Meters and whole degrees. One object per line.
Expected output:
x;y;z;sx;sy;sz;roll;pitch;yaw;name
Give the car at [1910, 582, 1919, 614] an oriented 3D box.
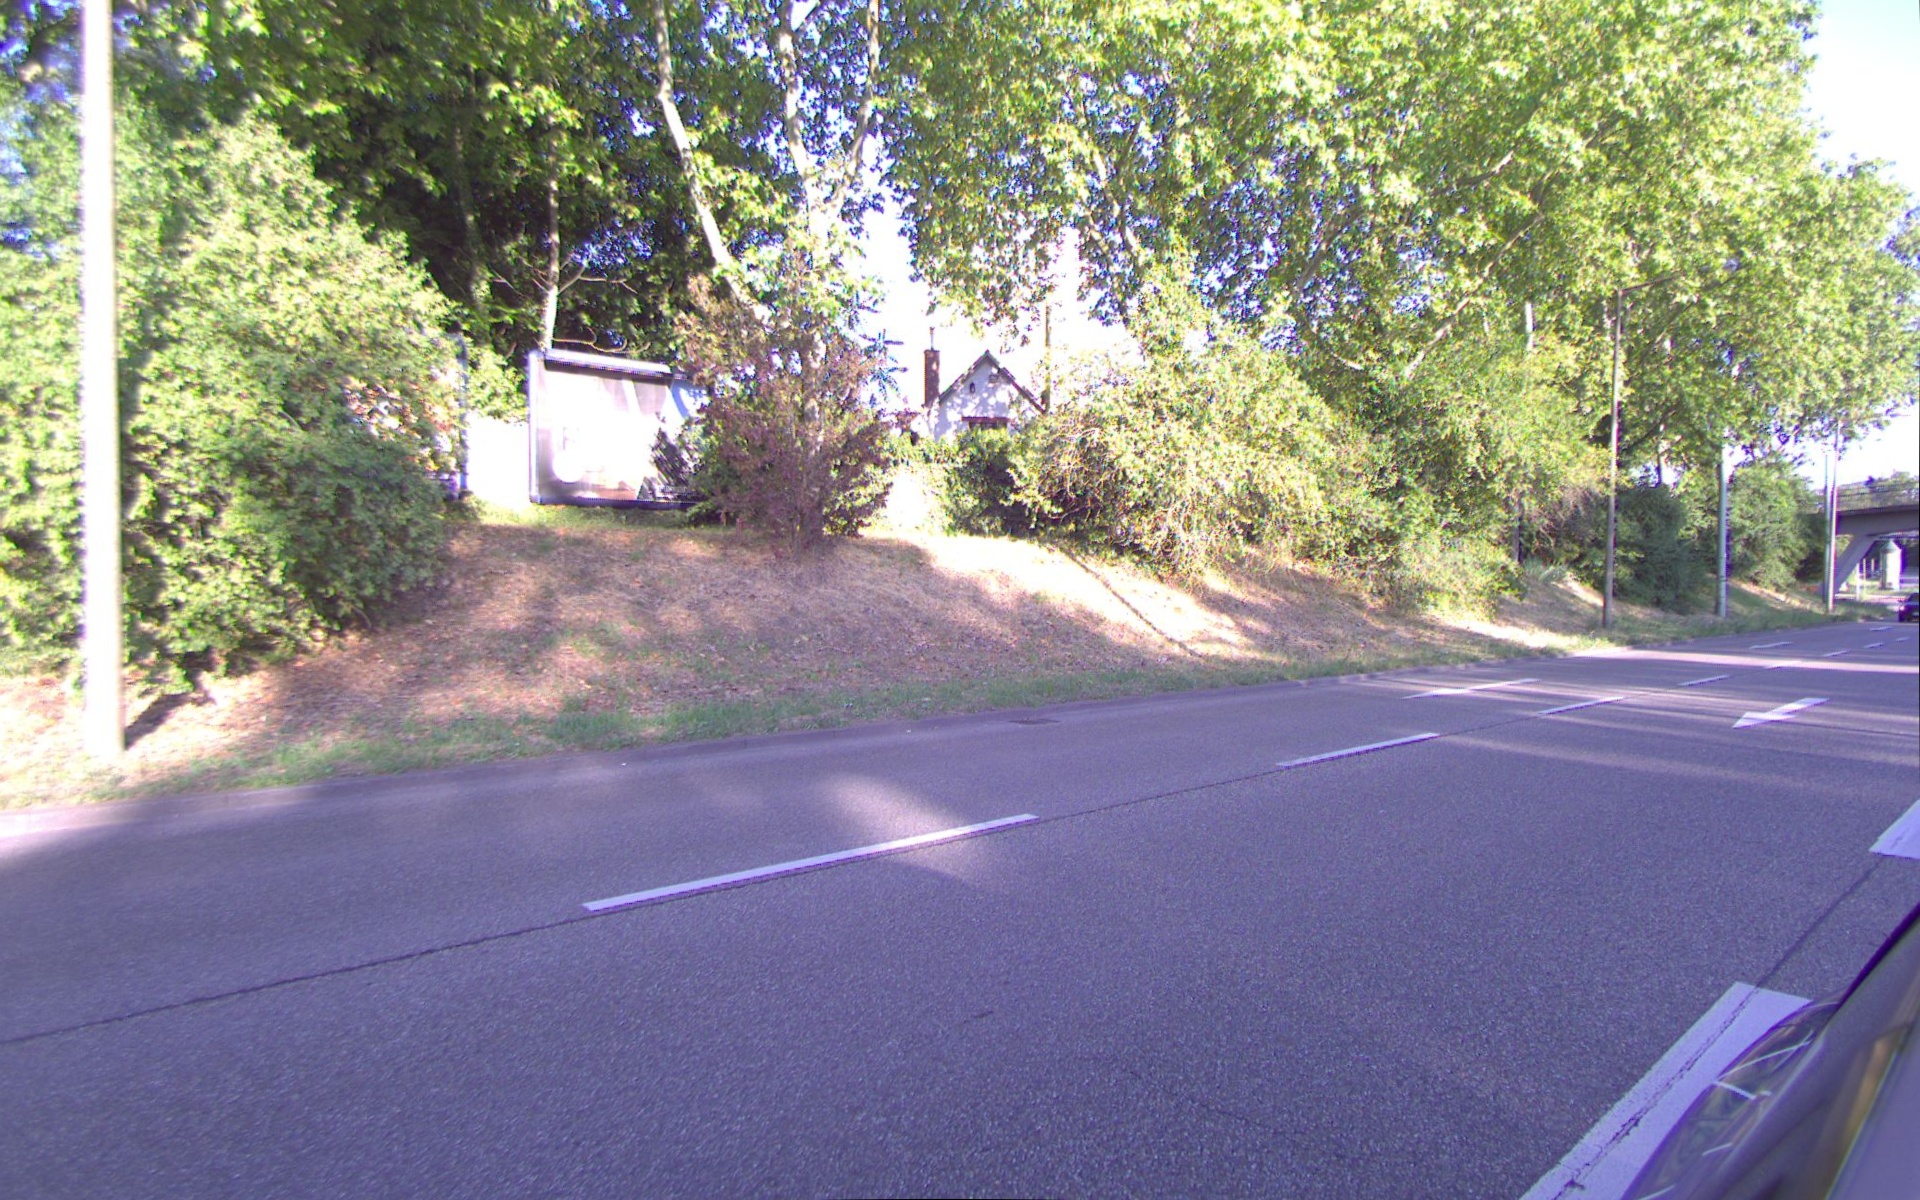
47.143;-0.121;48.709;3.915;1.460;1.628;-1;1;-40;car
